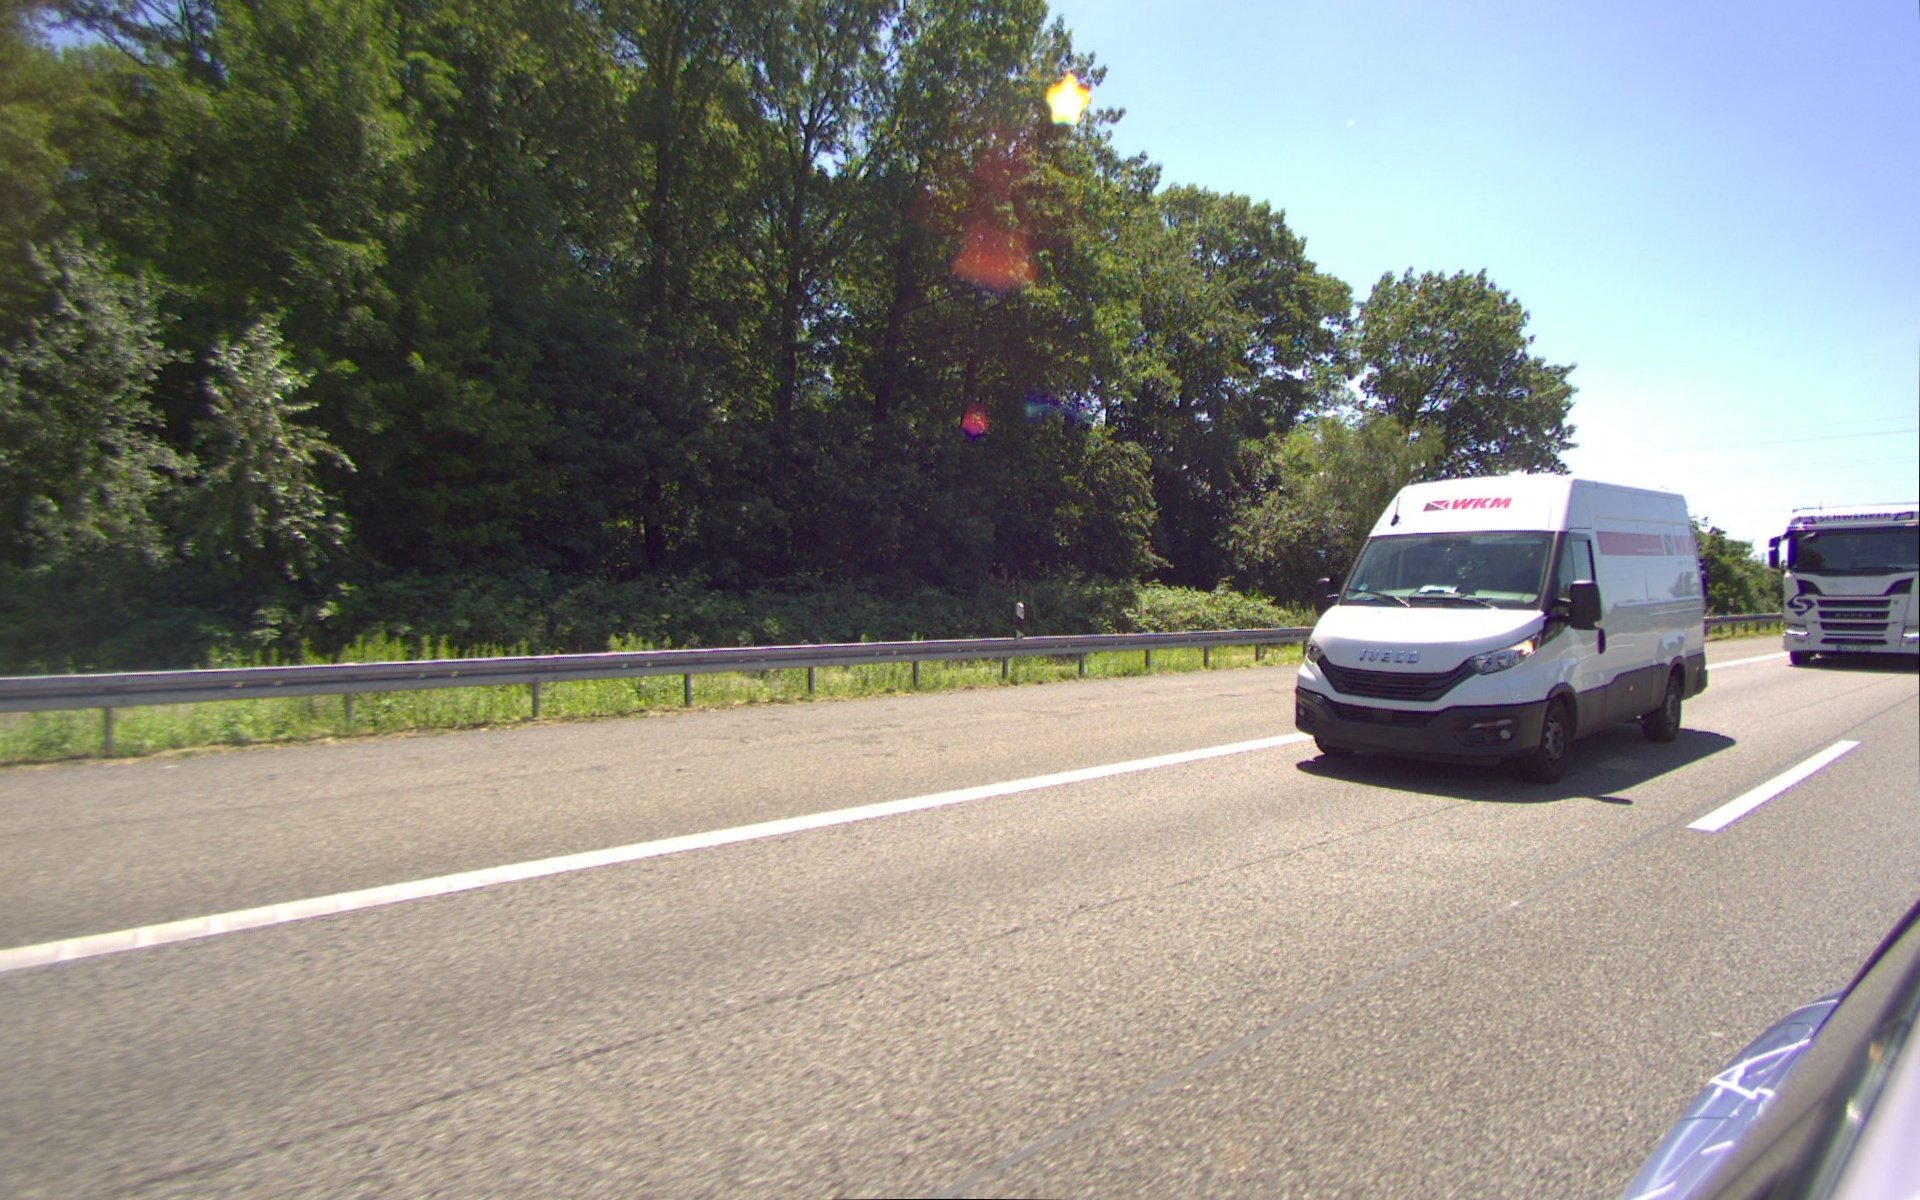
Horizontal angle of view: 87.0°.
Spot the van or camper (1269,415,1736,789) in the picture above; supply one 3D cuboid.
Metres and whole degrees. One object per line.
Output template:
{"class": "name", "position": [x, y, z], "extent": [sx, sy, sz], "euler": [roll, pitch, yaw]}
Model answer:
{"class": "van or camper", "position": [5.722, -0.015, 10.102], "extent": [6.374, 2.671, 2.025], "euler": [0, 0, -41]}

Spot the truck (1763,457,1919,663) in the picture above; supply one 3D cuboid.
{"class": "truck", "position": [20.932, -0.840, 23.059], "extent": [6.749, 4.081, 2.894], "euler": [-1, 0, -41]}

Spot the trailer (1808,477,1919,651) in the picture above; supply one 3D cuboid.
{"class": "trailer", "position": [24.859, -0.892, 26.567], "extent": [7.190, 4.092, 2.925], "euler": [-1, 0, -41]}

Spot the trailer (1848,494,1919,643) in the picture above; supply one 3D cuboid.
{"class": "trailer", "position": [29.464, -0.901, 30.570], "extent": [7.987, 4.114, 2.950], "euler": [-1, 0, -41]}
